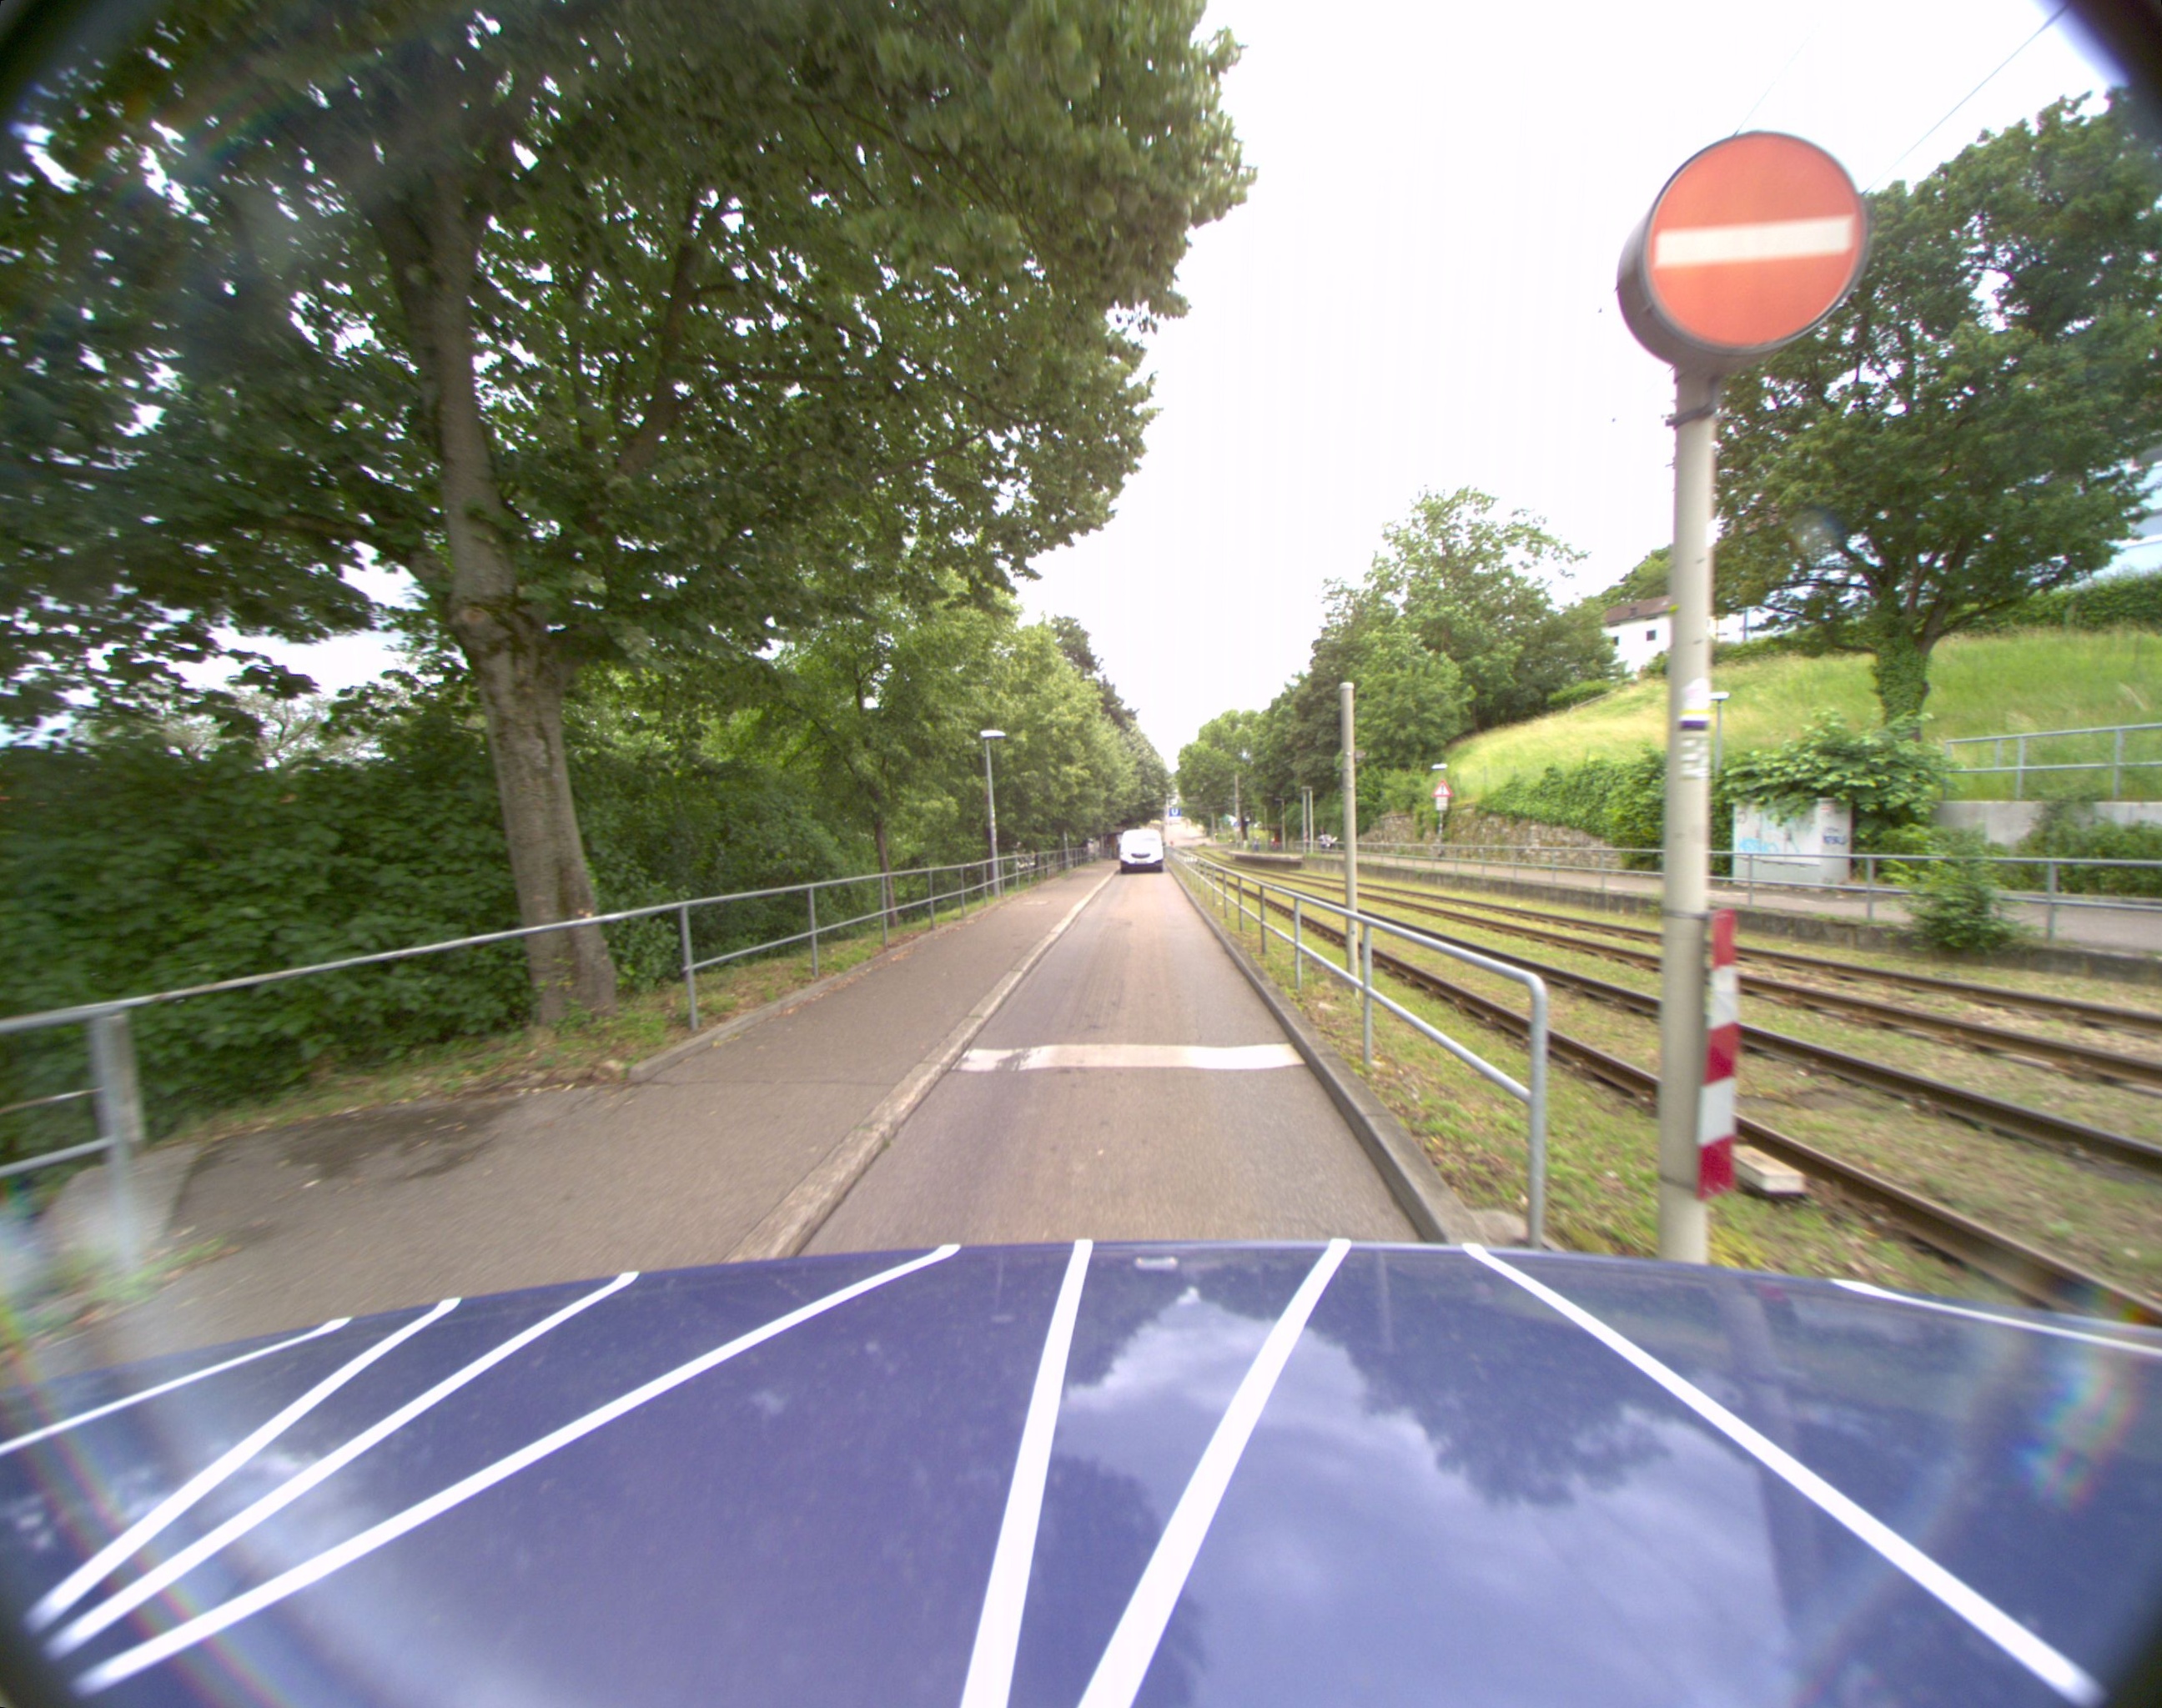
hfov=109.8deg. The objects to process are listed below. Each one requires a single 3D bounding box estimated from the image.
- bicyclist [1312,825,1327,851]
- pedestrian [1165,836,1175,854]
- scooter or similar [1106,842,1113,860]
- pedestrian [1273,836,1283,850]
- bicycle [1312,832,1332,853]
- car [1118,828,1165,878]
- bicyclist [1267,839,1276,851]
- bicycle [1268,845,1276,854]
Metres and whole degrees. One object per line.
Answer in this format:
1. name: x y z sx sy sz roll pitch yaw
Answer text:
1. bicyclist: 15.587 -1.034 49.690 0.706 1.619 1.033 -4 0 8
2. pedestrian: 7.509 -0.762 63.960 0.738 1.493 0.627 -3 0 6
3. scooter or similar: 2.189 -0.249 58.644 0.431 1.376 1.455 -3 1 5
4. pedestrian: 19.714 -1.096 76.033 0.823 1.367 0.774 -3 2 -1
5. bicycle: 15.518 -0.724 49.022 0.752 1.232 2.868 -4 0 9
6. car: 2.566 -0.086 33.159 1.809 1.910 4.478 -3 1 2
7. bicyclist: 17.191 -0.796 68.636 0.691 1.047 0.745 -3 0 5
8. bicycle: 17.214 -0.408 68.531 0.451 0.776 1.565 -3 0 6
